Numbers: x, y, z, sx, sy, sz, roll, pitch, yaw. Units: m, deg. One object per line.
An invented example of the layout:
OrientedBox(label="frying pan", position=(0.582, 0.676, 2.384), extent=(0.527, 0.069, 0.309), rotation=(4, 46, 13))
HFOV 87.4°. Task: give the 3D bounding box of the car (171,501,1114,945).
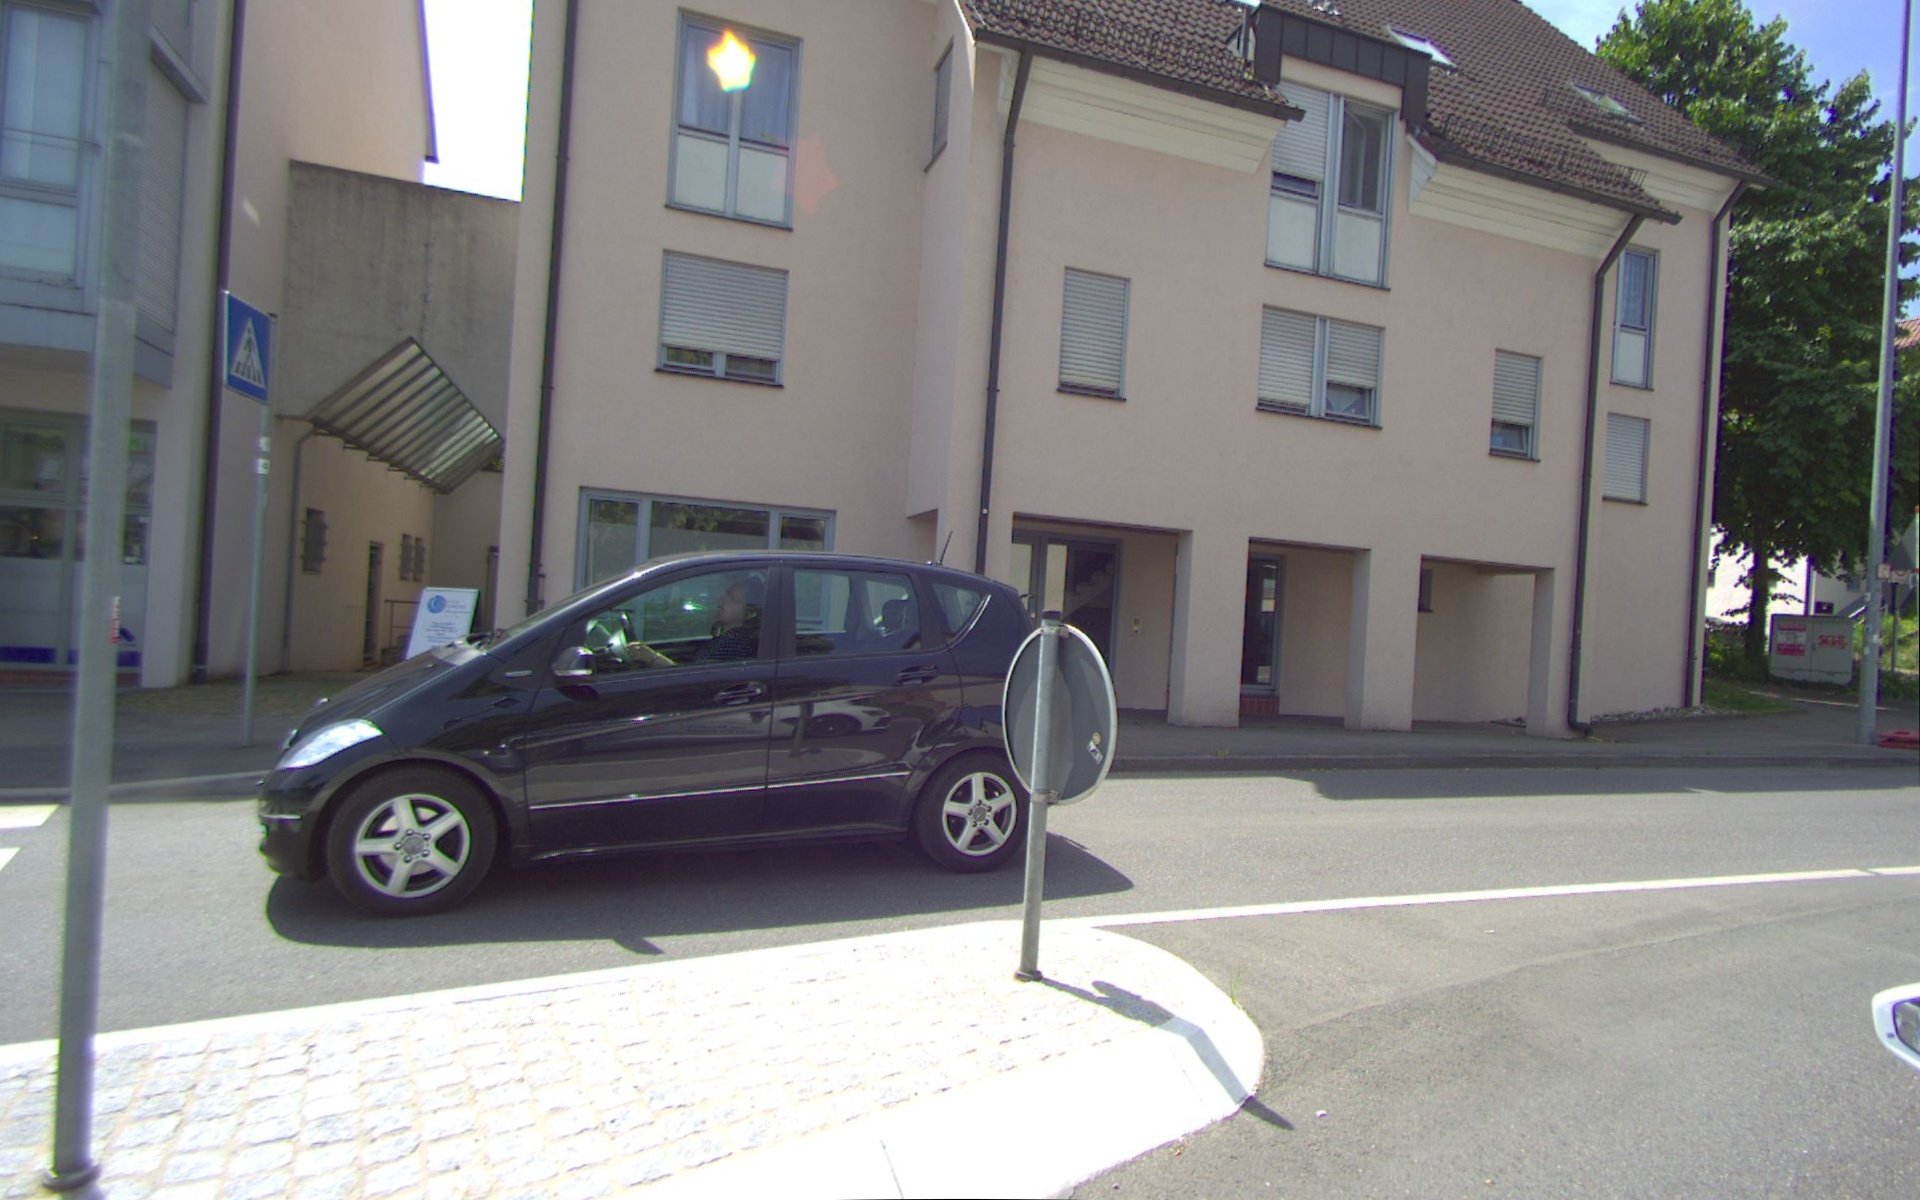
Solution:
OrientedBox(label="car", position=(-1.359, 0.505, 5.197), extent=(3.889, 1.605, 1.748), rotation=(2, 0, -23))

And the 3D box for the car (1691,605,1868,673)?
OrientedBox(label="car", position=(25.944, 1.191, 31.987), extent=(1.876, 1.706, 3.989), rotation=(3, 3, -12))
